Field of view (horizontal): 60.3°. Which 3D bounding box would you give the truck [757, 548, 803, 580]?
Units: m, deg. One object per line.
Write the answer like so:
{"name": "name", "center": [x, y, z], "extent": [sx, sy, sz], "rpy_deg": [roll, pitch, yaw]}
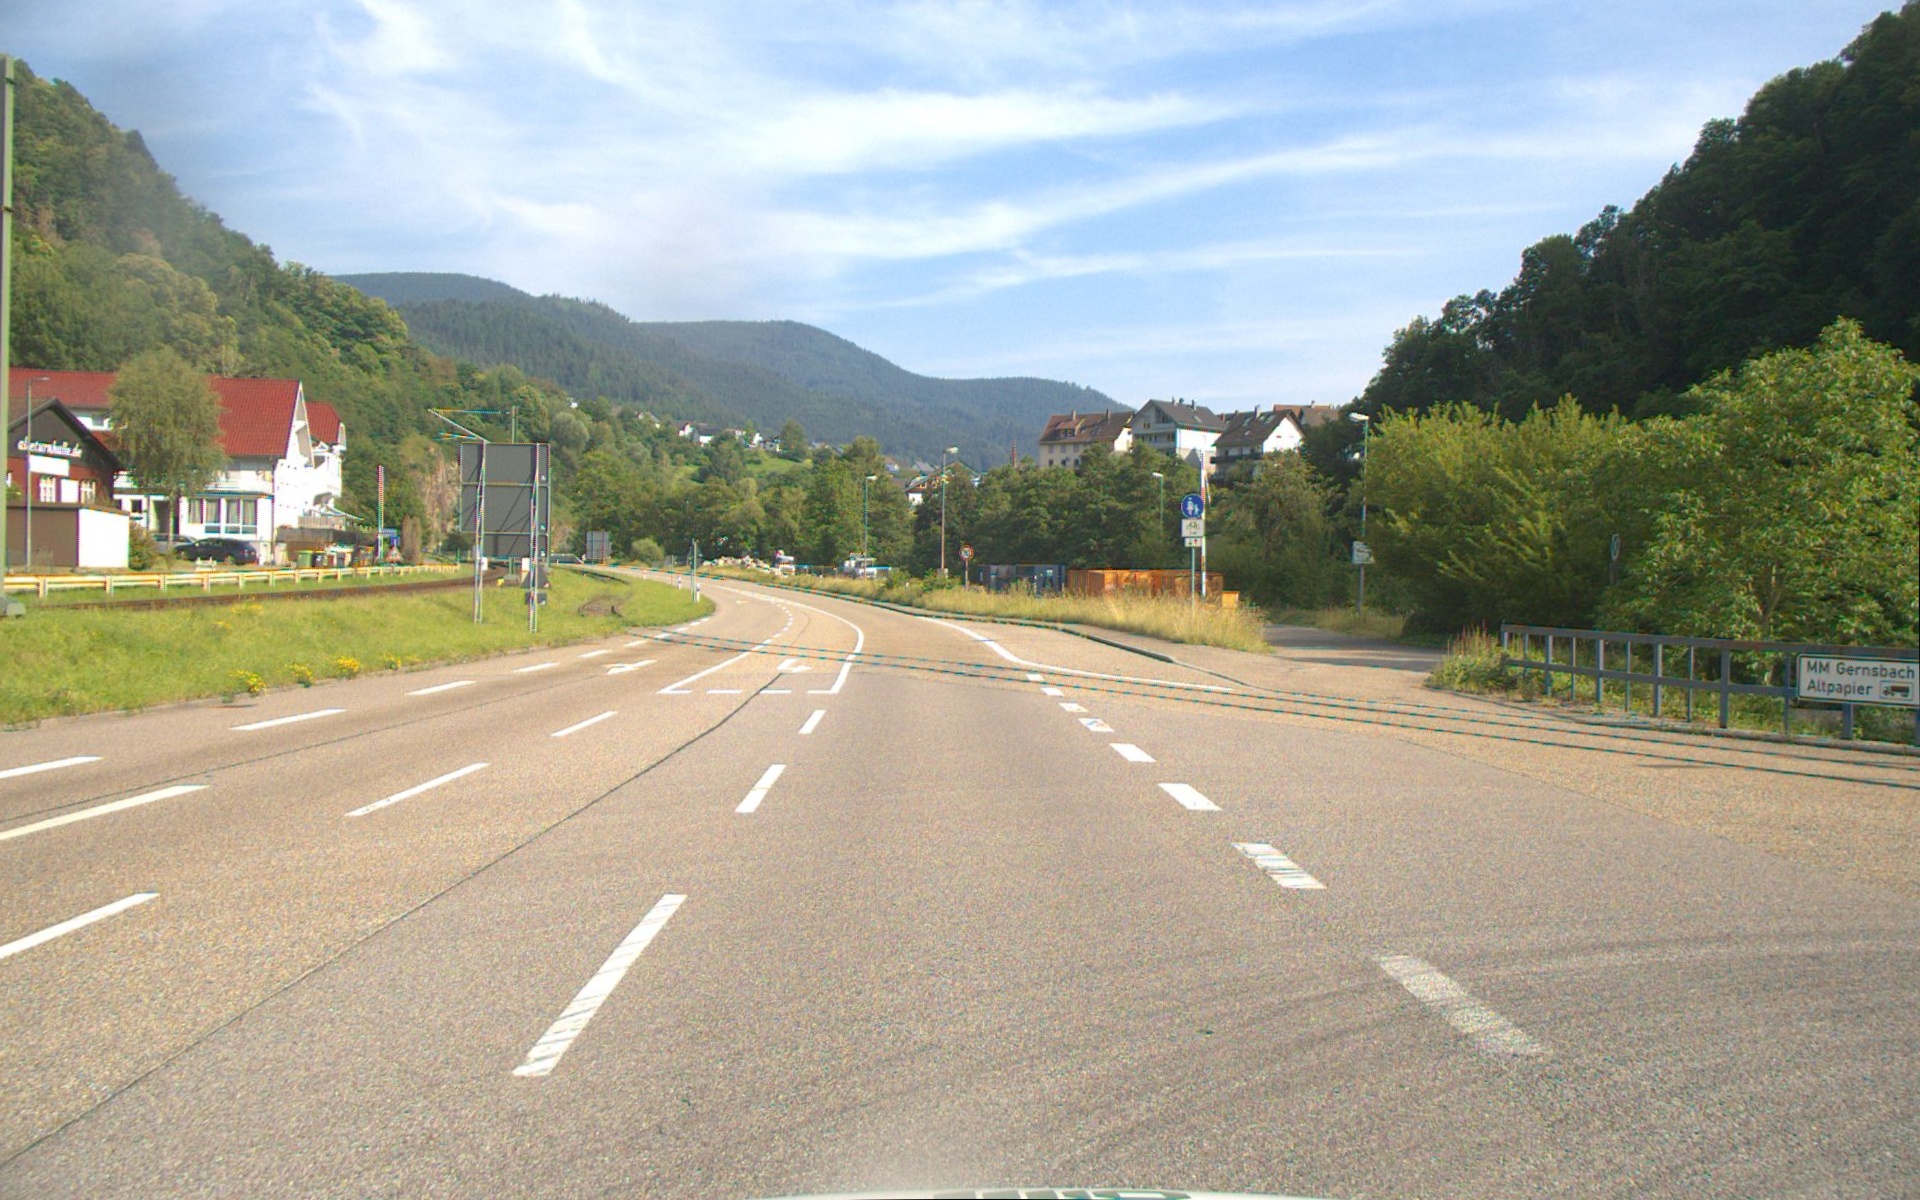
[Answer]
{"name": "truck", "center": [-23.093, -4.623, 212.143], "extent": [3.065, 3.847, 8.574], "rpy_deg": [2, 1, -26]}

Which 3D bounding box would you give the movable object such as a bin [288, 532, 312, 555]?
{"name": "movable object such as a bin", "center": [-35.816, -3.044, 89.749], "extent": [1.122, 1.212, 1.088], "rpy_deg": [1, 1, -18]}

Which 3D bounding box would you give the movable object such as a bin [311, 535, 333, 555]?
{"name": "movable object such as a bin", "center": [-39.312, -3.392, 101.868], "extent": [1.071, 1.212, 1.140], "rpy_deg": [1, 1, -13]}

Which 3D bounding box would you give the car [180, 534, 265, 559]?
{"name": "car", "center": [-41.621, -3.003, 93.404], "extent": [4.021, 1.292, 1.732], "rpy_deg": [1, 1, -11]}

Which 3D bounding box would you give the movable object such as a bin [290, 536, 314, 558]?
{"name": "movable object such as a bin", "center": [-36.172, -2.911, 90.926], "extent": [1.122, 1.212, 1.088], "rpy_deg": [1, 1, -18]}

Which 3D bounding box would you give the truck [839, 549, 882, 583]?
{"name": "truck", "center": [-11.853, -4.077, 196.092], "extent": [3.054, 3.847, 8.604], "rpy_deg": [2, 1, -17]}
